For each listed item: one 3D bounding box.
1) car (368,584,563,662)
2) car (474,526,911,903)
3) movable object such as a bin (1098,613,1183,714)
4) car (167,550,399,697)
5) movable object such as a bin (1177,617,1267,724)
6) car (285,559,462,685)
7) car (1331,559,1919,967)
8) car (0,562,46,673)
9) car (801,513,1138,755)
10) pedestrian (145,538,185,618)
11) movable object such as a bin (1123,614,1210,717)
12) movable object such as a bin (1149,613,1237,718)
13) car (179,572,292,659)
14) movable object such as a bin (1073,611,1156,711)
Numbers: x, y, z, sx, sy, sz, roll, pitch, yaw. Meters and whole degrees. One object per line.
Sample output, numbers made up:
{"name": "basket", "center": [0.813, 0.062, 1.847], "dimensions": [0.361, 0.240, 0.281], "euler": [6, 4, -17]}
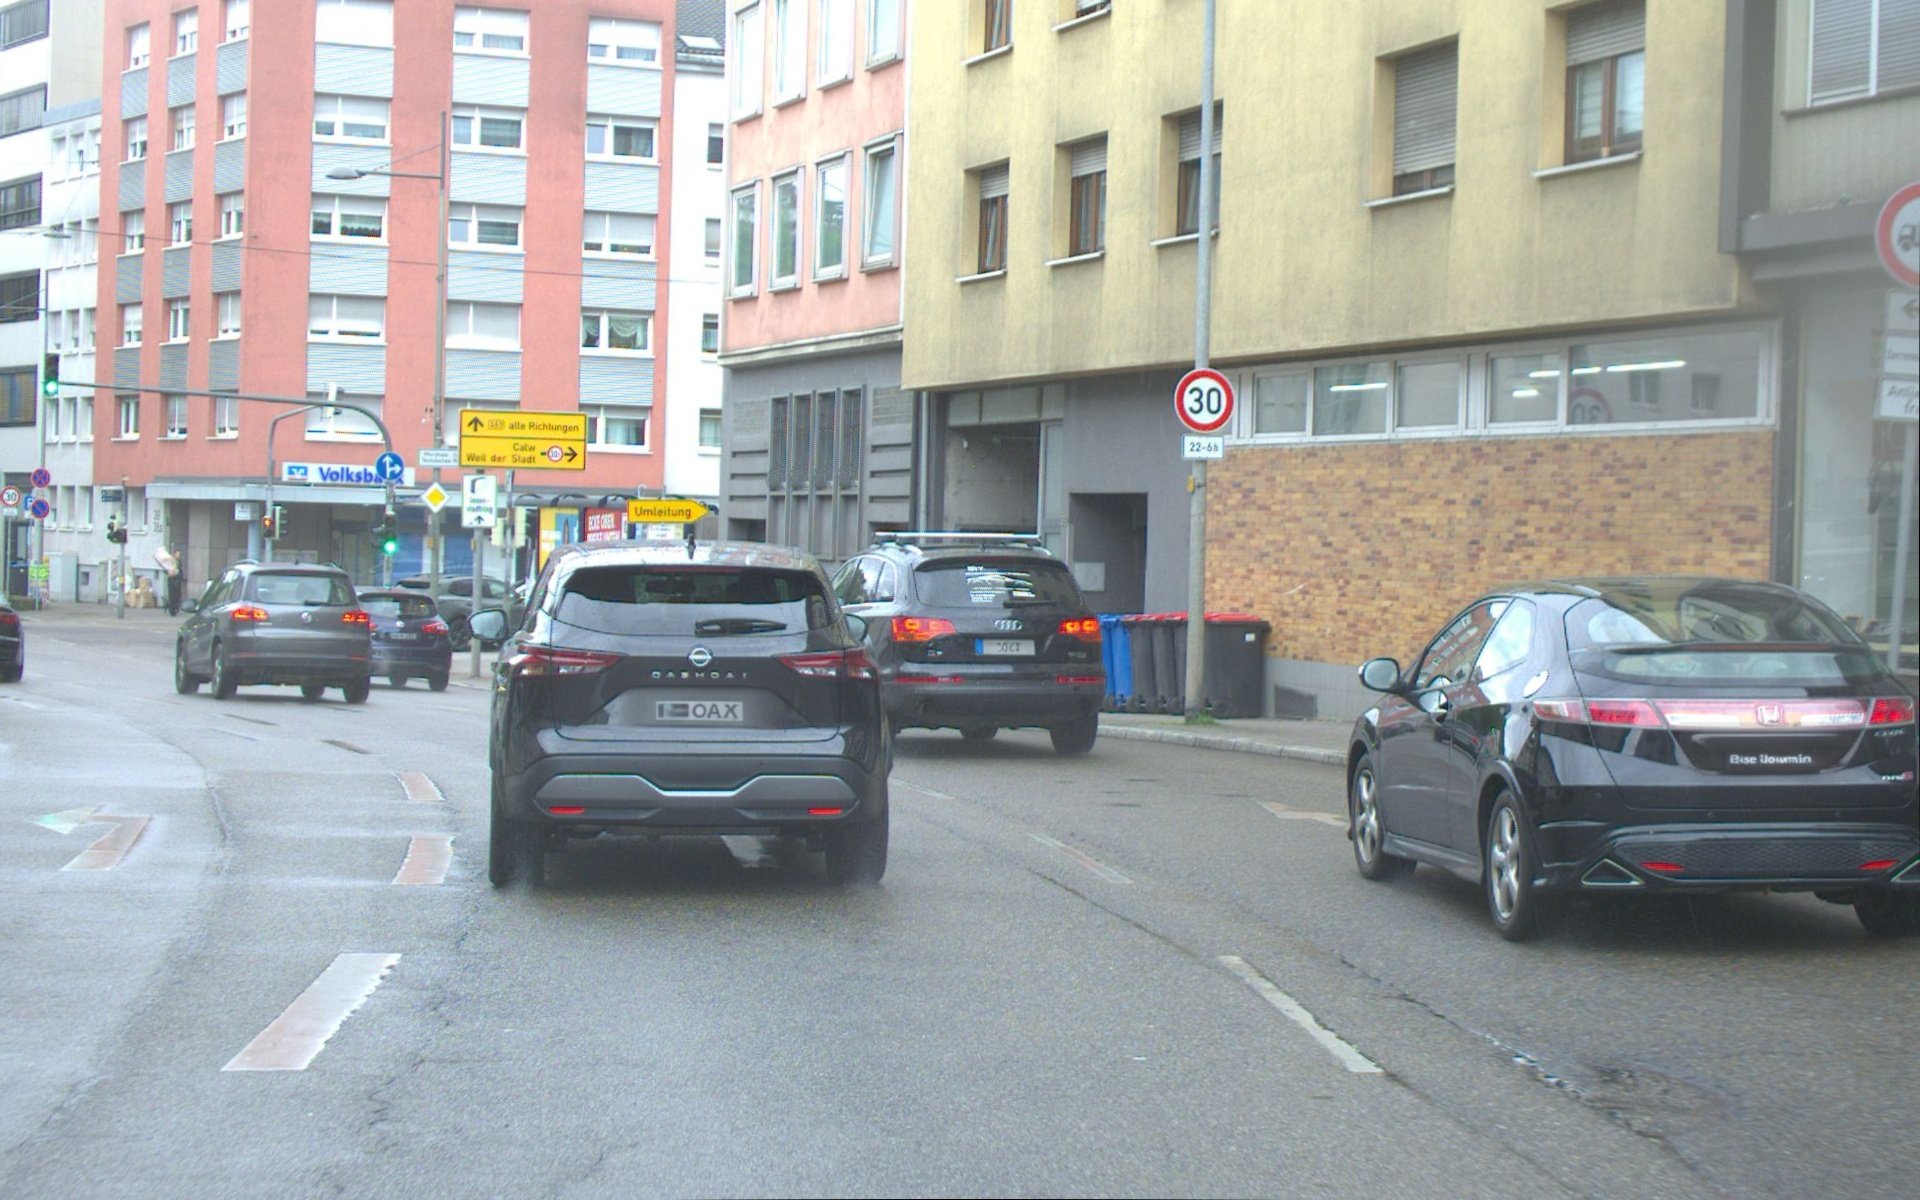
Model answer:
{"name": "car", "center": [-11.093, 0.527, 77.269], "dimensions": [1.998, 1.514, 3.991], "euler": [4, 0, 38]}
{"name": "car", "center": [-1.428, 0.465, 16.935], "dimensions": [1.894, 1.623, 4.001], "euler": [0, 1, -8]}
{"name": "movable object such as a bin", "center": [1.956, 0.684, 37.333], "dimensions": [0.680, 1.073, 0.668], "euler": [1, 0, -21]}
{"name": "car", "center": [-8.279, 0.239, 41.790], "dimensions": [1.945, 1.679, 4.001], "euler": [-1, 1, -23]}
{"name": "movable object such as a bin", "center": [2.696, 0.727, 35.414], "dimensions": [0.680, 1.073, 0.668], "euler": [1, 0, -21]}
{"name": "car", "center": [-8.924, 0.296, 52.075], "dimensions": [1.945, 1.810, 4.001], "euler": [0, 1, -20]}
{"name": "car", "center": [2.869, 0.585, 14.881], "dimensions": [1.783, 1.491, 4.057], "euler": [0, 1, -5]}
{"name": "car", "center": [-13.796, 0.145, 46.673], "dimensions": [1.993, 1.383, 4.501], "euler": [4, 0, -23]}
{"name": "car", "center": [-0.031, 0.235, 29.019], "dimensions": [2.020, 1.863, 4.901], "euler": [0, 1, -10]}
{"name": "pedestrian", "center": [-21.929, -0.620, 94.784], "dimensions": [0.825, 2.151, 0.770], "euler": [4, 0, -23]}
{"name": "movable object such as a bin", "center": [2.201, 0.699, 36.697], "dimensions": [0.680, 1.073, 0.668], "euler": [1, 0, -21]}
{"name": "movable object such as a bin", "center": [2.444, 0.685, 36.054], "dimensions": [0.680, 1.073, 0.668], "euler": [1, 0, -21]}
{"name": "car", "center": [-14.057, 0.280, 66.631], "dimensions": [1.993, 1.481, 4.001], "euler": [4, 0, -13]}
{"name": "movable object such as a bin", "center": [1.706, 0.672, 37.971], "dimensions": [0.680, 1.073, 0.668], "euler": [1, 0, -21]}
